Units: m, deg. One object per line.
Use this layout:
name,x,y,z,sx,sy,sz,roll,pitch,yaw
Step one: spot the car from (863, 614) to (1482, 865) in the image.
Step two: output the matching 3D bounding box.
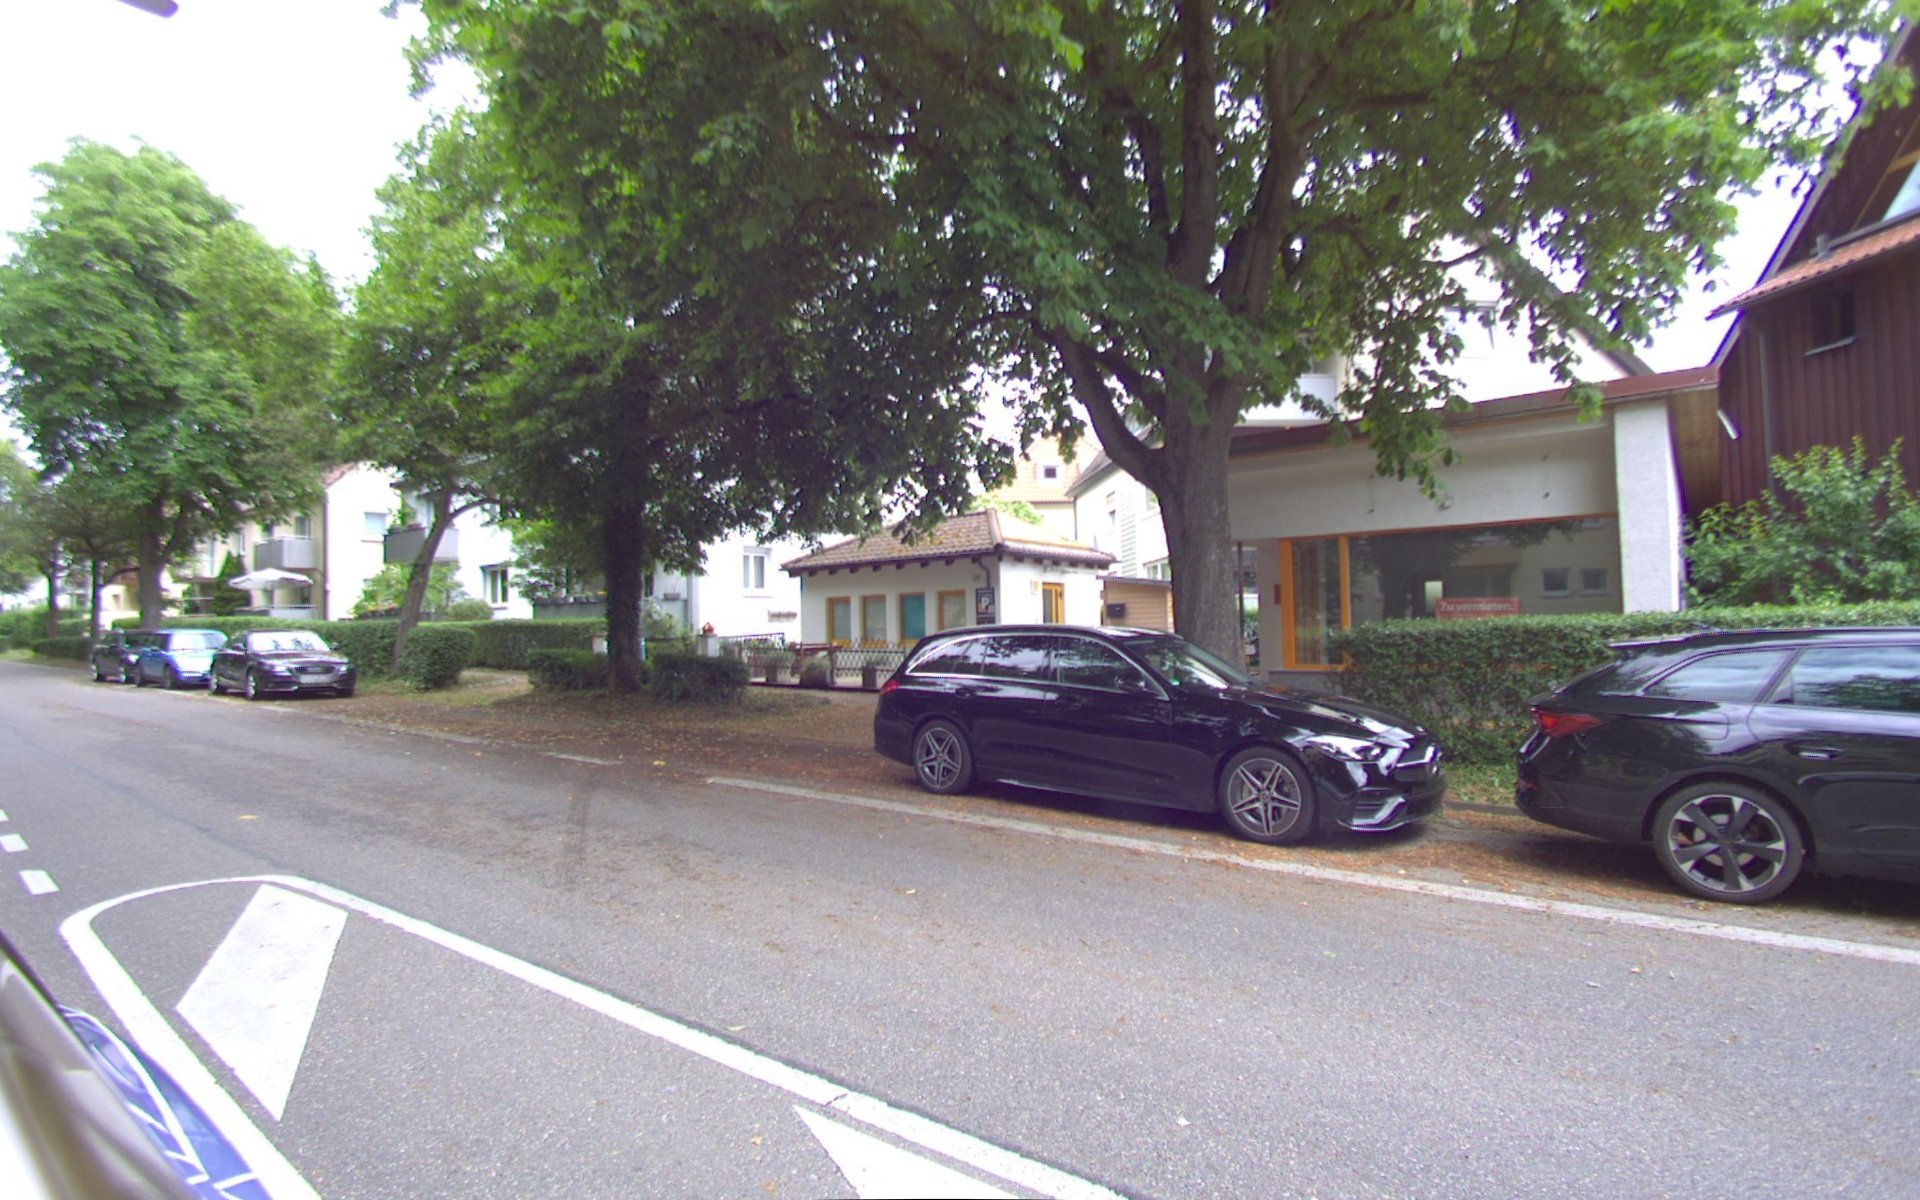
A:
car,1.441,0.883,8.088,4.590,1.461,1.727,-1,-2,40

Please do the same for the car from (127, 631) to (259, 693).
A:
car,-18.730,1.489,24.654,4.147,1.387,1.617,-2,-3,39

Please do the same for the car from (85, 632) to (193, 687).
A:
car,-22.343,1.597,27.508,3.767,1.387,1.521,-2,-3,39

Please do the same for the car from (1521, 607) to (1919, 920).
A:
car,5.496,0.775,5.028,4.508,1.461,1.728,-1,-2,39

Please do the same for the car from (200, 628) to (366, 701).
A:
car,-14.353,1.325,21.353,4.592,1.387,1.828,-3,-3,42
